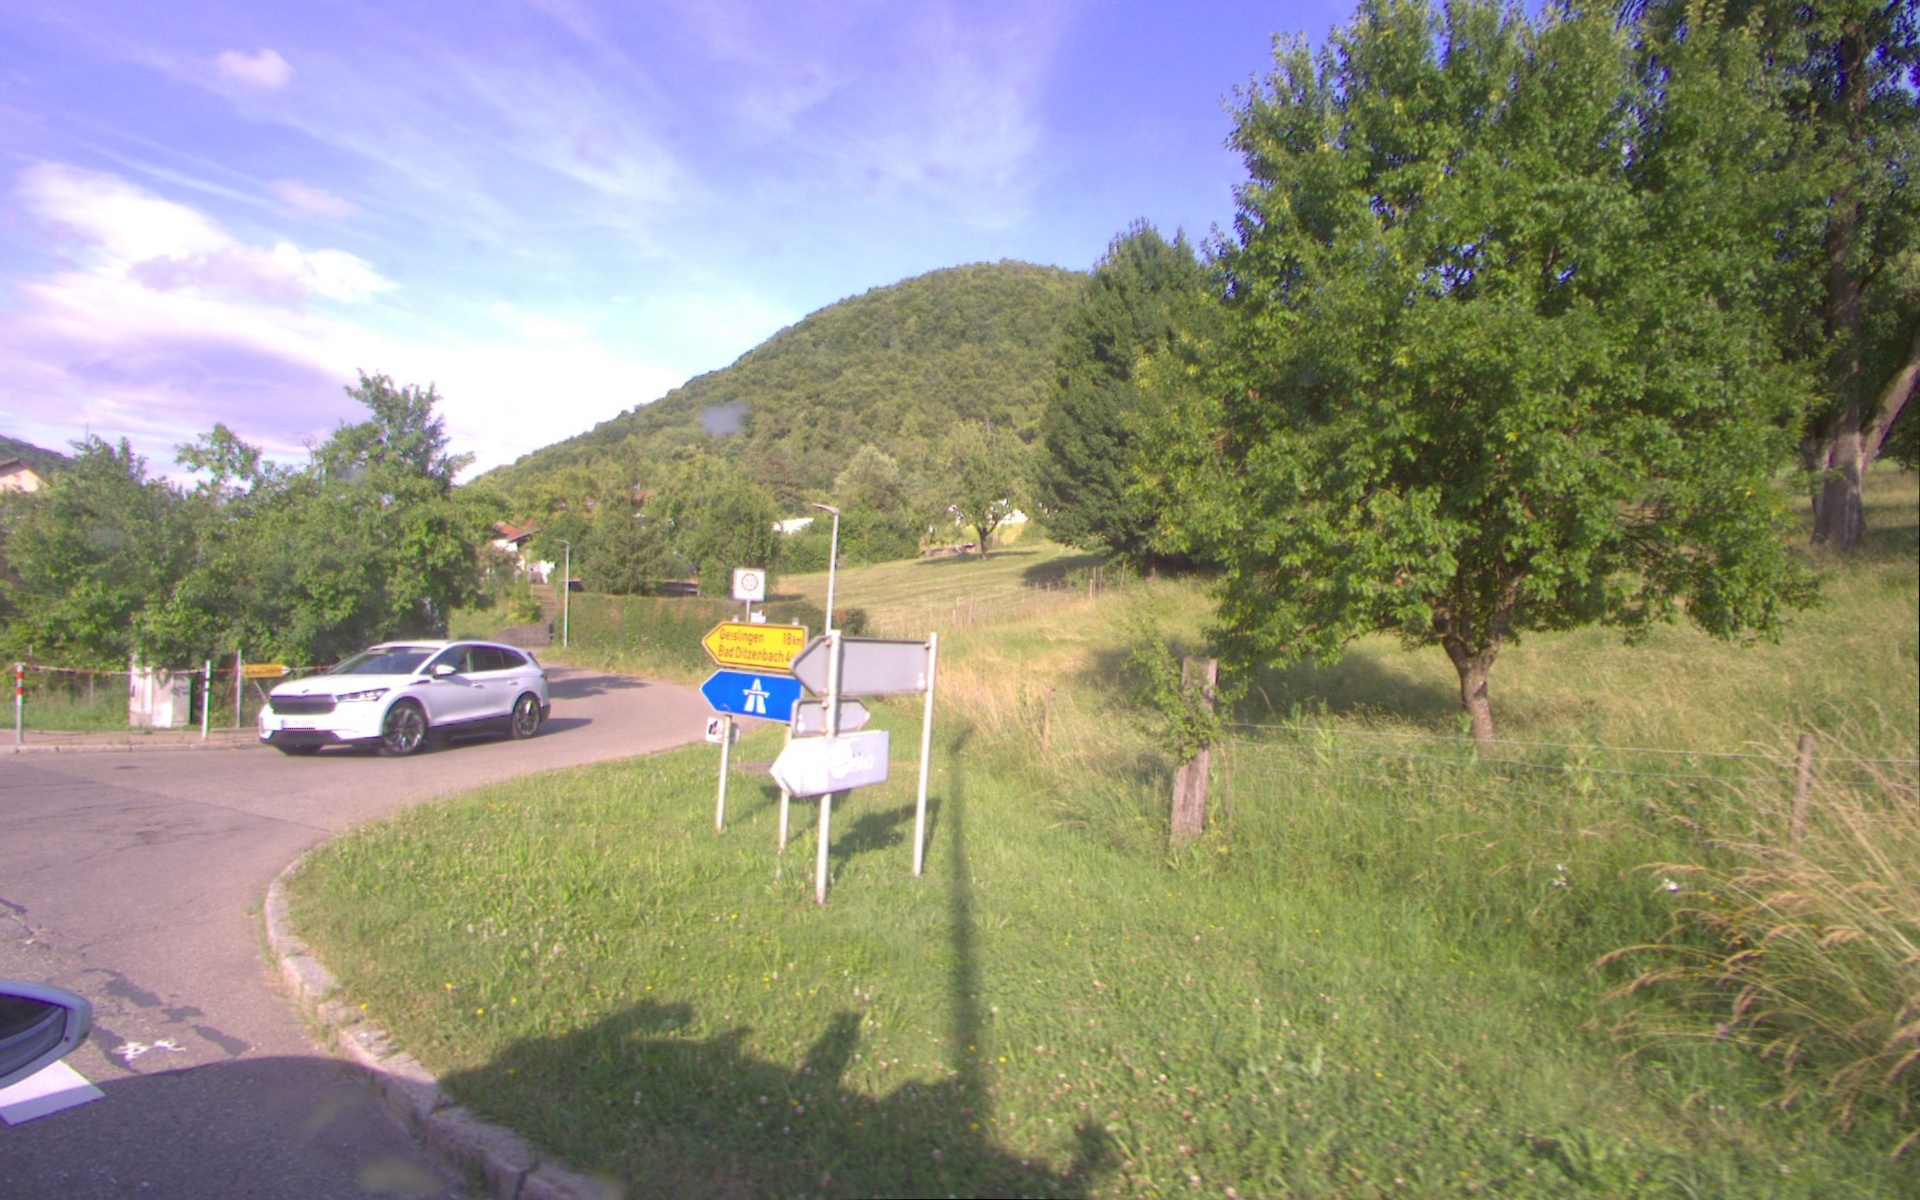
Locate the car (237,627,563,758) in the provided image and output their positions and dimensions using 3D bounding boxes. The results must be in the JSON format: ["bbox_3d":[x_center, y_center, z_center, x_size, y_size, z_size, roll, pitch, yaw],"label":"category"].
[{"bbox_3d":[-8.102,1.315,15.120,1.837,1.630,4.575,1,-3,9],"label":"car"}]
